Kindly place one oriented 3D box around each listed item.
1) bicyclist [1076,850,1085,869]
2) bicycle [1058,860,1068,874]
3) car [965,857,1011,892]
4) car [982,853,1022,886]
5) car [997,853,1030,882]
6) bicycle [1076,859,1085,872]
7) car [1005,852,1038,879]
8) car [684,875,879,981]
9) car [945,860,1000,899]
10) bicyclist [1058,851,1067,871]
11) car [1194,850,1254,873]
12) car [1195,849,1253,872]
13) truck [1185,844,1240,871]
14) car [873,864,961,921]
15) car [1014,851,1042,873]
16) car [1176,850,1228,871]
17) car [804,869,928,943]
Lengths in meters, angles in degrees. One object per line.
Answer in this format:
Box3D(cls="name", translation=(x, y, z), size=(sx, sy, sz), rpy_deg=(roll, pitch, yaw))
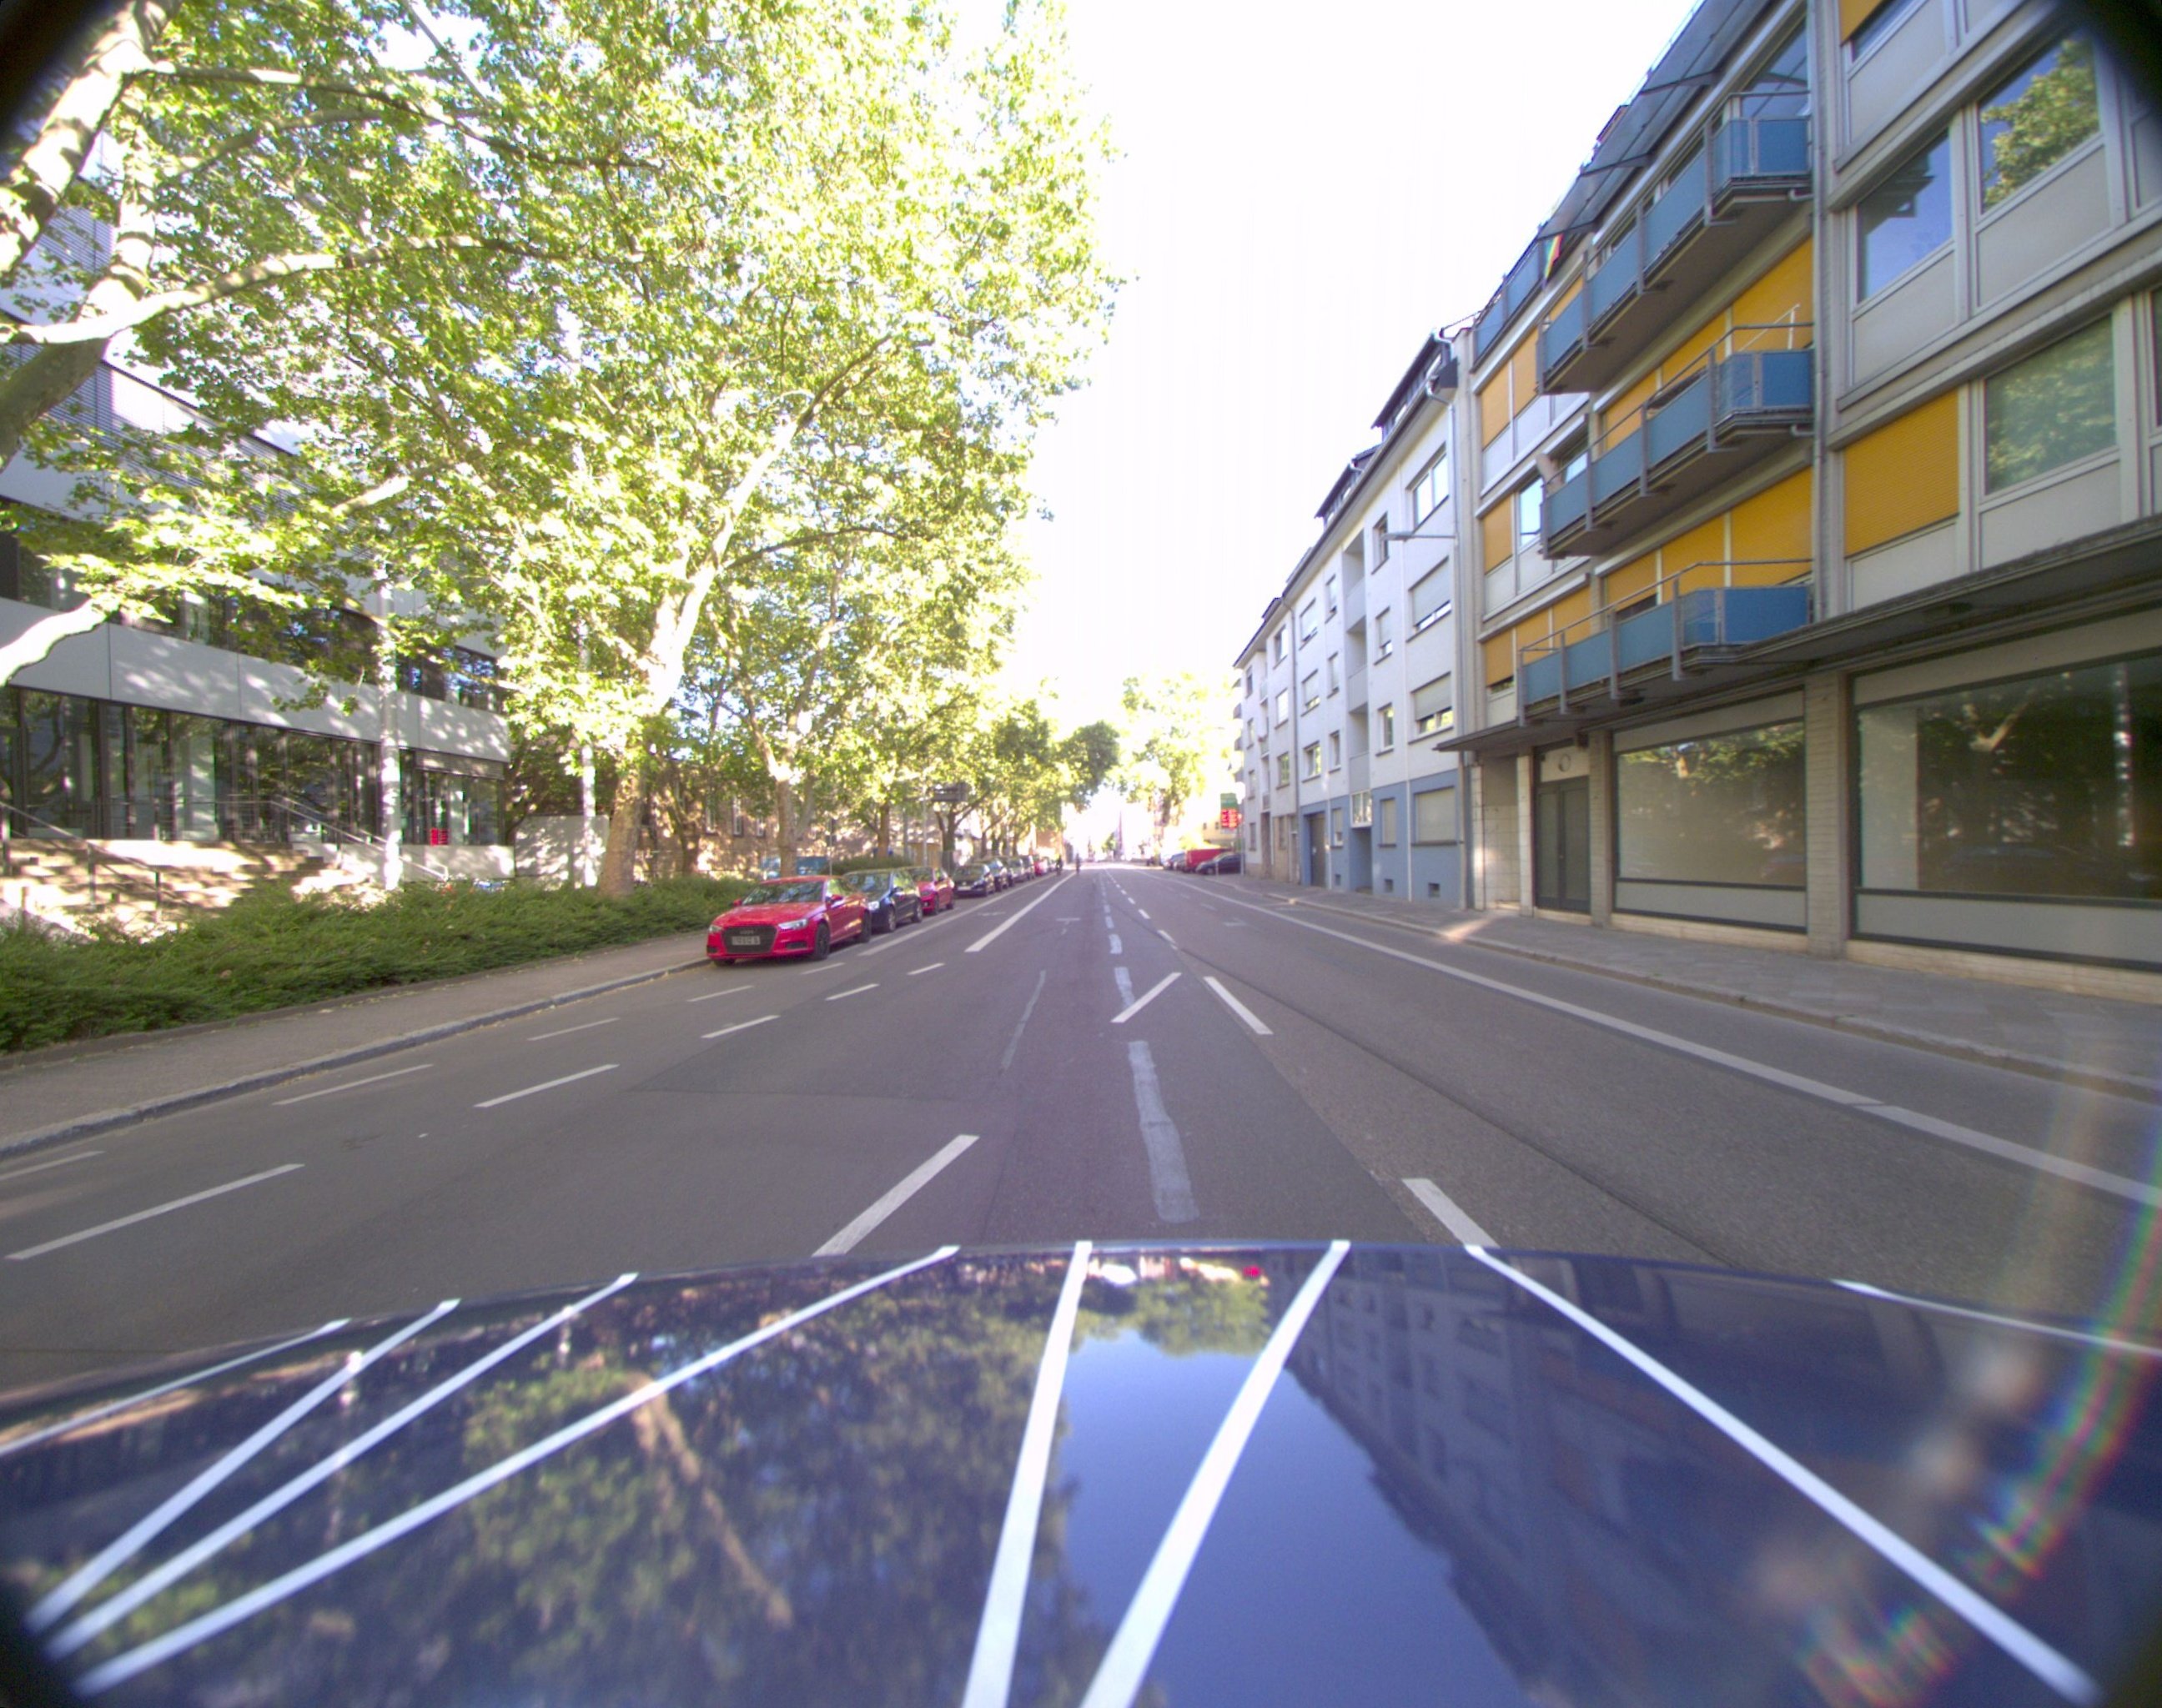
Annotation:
Box3D(cls="bicyclist", translation=(-0.040, 0.480, 64.040), size=(0.718, 1.573, 0.936), rpy_deg=(-2, 1, 1))
Box3D(cls="bicycle", translation=(-1.507, 1.044, 62.775), size=(0.717, 1.052, 2.485), rpy_deg=(-2, 1, 1))
Box3D(cls="car", translation=(-4.604, 0.979, 38.131), size=(1.790, 1.544, 4.163), rpy_deg=(-3, 0, 0))
Box3D(cls="car", translation=(-4.527, 0.870, 44.147), size=(1.790, 1.745, 4.345), rpy_deg=(-3, 0, 0))
Box3D(cls="car", translation=(-4.449, 0.854, 50.703), size=(1.790, 1.745, 4.552), rpy_deg=(-3, 0, 0))
Box3D(cls="bicycle", translation=(-0.017, 0.972, 64.033), size=(0.717, 1.052, 2.485), rpy_deg=(-2, 1, 1))
Box3D(cls="car", translation=(-4.321, 0.798, 55.661), size=(2.042, 1.745, 4.552), rpy_deg=(-3, 0, 0))
Box3D(cls="car", translation=(-5.139, 1.193, 13.719), size=(1.818, 1.405, 4.163), rpy_deg=(-3, 0, 0))
Box3D(cls="car", translation=(-4.704, 1.078, 33.385), size=(1.790, 1.451, 4.163), rpy_deg=(-3, 0, 0))
Box3D(cls="bicyclist", translation=(-1.526, 0.553, 62.671), size=(0.718, 1.573, 0.936), rpy_deg=(-2, 1, 1))
Box3D(cls="car", translation=(10.250, 0.545, 54.794), size=(3.996, 1.449, 1.761), rpy_deg=(-2, 1, 2))
Box3D(cls="car", translation=(10.724, 0.478, 57.142), size=(3.996, 1.494, 1.761), rpy_deg=(-2, 1, 2))
Box3D(cls="truck", translation=(10.364, 0.245, 59.991), size=(3.996, 1.925, 1.761), rpy_deg=(-2, 1, 2))
Box3D(cls="car", translation=(-5.031, 1.125, 23.858), size=(1.818, 1.475, 4.163), rpy_deg=(-3, 0, 0))
Box3D(cls="car", translation=(-4.596, 0.702, 66.092), size=(2.042, 1.745, 4.552), rpy_deg=(-3, 0, 0))
Box3D(cls="car", translation=(9.974, 0.525, 62.844), size=(3.996, 1.494, 1.761), rpy_deg=(-2, 1, 2))
Box3D(cls="car", translation=(-5.084, 1.170, 18.575), size=(1.818, 1.405, 4.163), rpy_deg=(-3, 0, 0))
